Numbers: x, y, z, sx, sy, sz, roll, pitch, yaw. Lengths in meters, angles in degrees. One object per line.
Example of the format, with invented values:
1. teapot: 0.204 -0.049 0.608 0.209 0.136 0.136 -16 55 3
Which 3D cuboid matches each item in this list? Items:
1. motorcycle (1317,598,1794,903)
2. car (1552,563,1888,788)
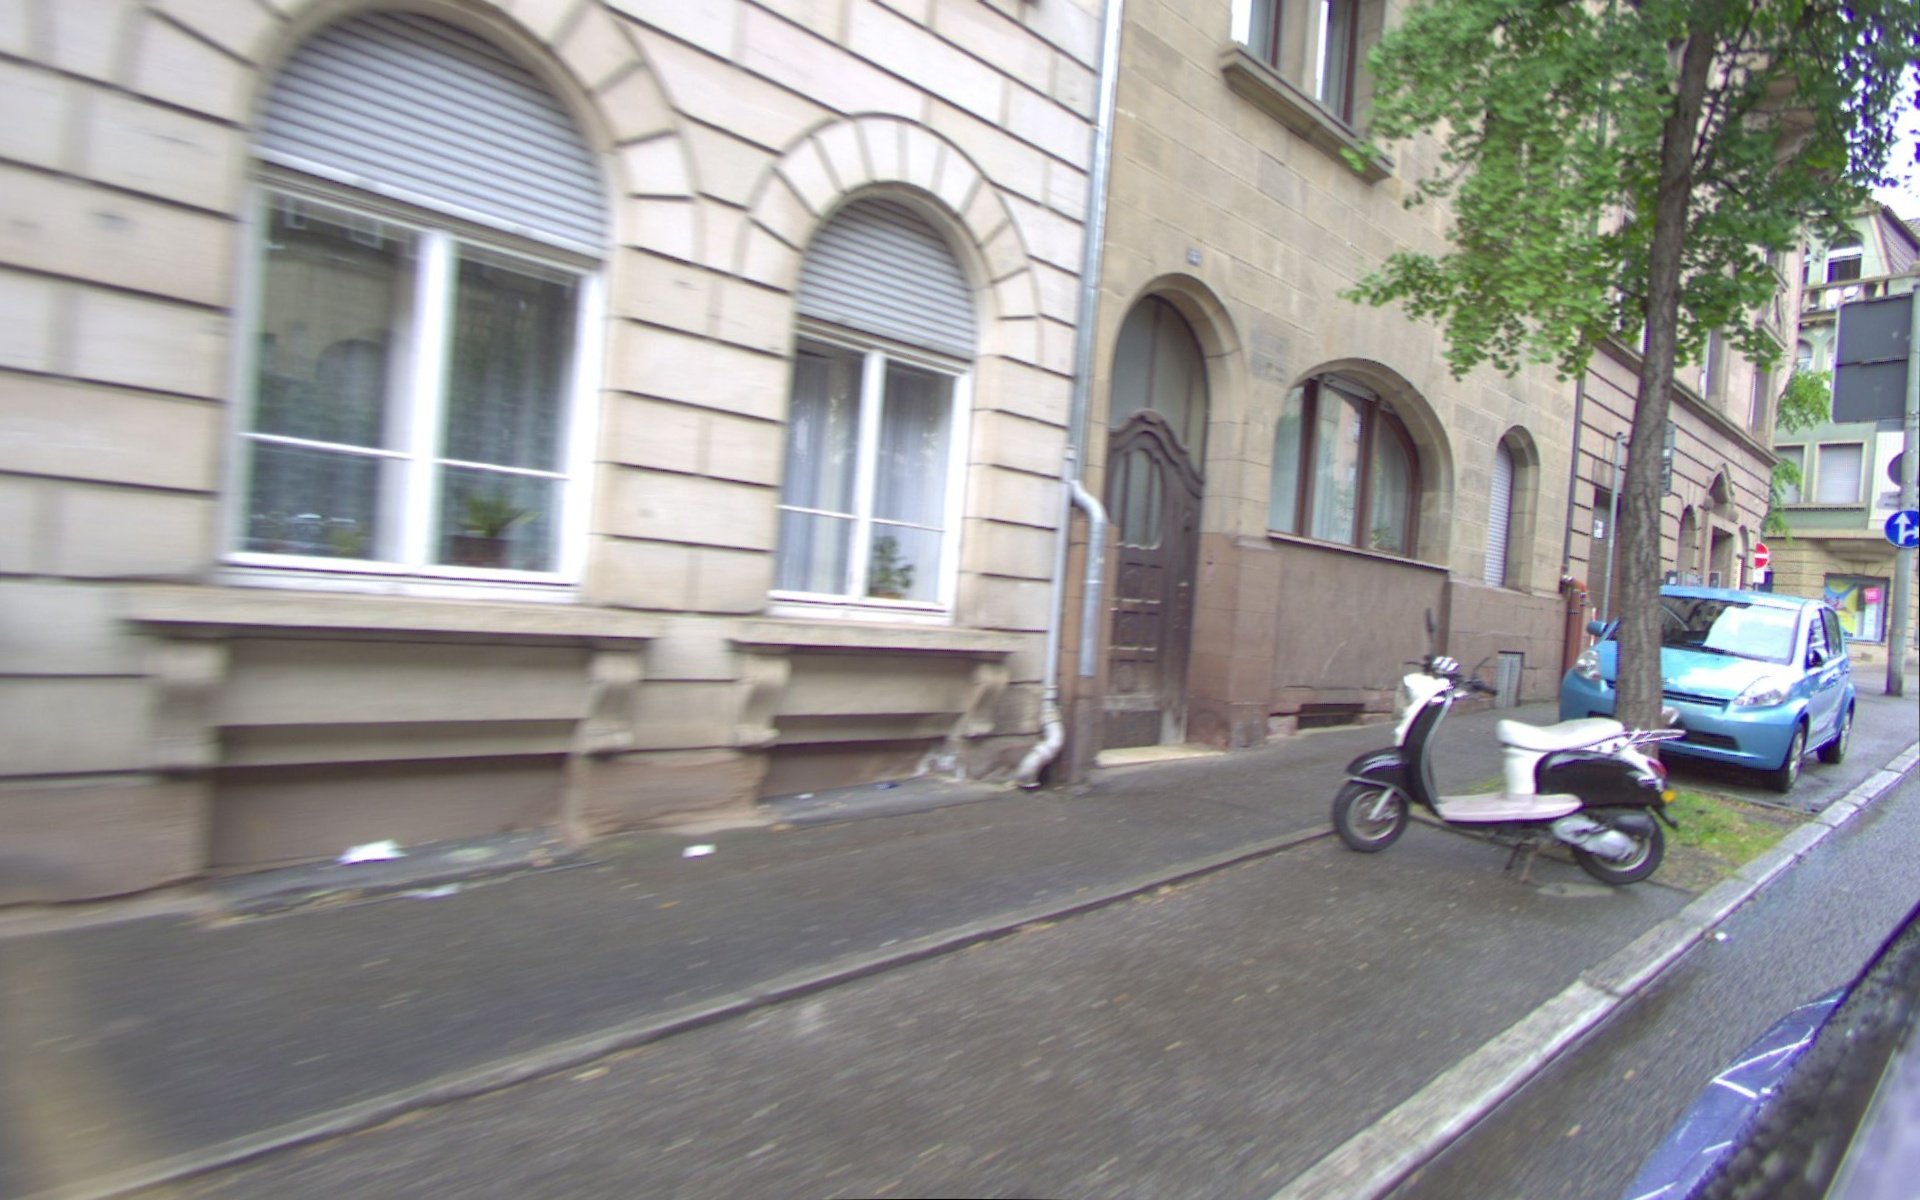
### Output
1. motorcycle: 2.930 0.694 5.204 1.910 1.250 0.655 5 2 14
2. car: 6.981 0.533 9.177 3.601 1.561 1.660 0 4 -41
